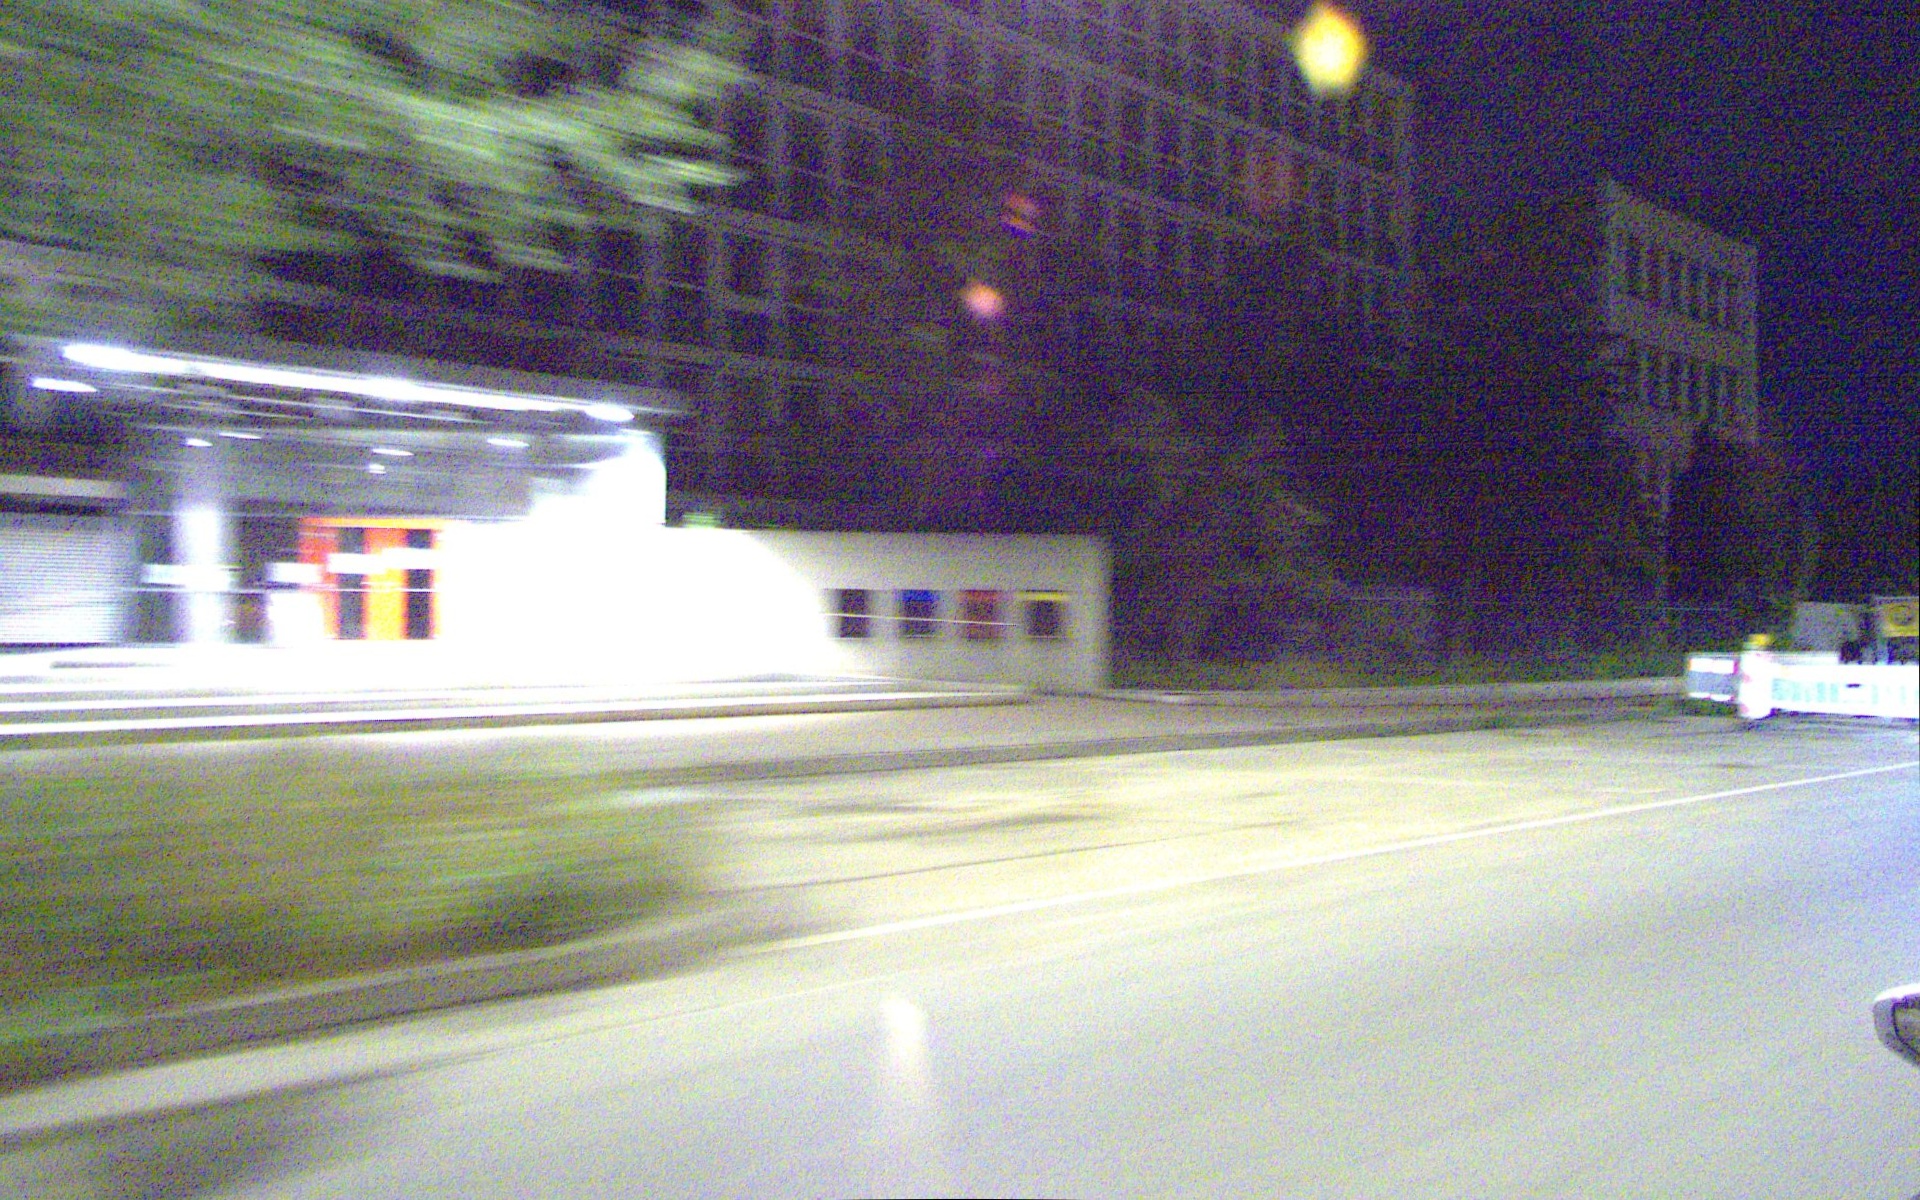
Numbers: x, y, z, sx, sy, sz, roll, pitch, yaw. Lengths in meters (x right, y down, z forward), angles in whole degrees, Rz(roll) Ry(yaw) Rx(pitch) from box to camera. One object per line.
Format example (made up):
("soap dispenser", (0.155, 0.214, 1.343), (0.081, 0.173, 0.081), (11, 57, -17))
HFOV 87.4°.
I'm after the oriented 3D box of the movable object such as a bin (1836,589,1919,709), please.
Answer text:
("movable object such as a bin", (20.618, 1.095, 22.332), (1.529, 2.499, 2.828), (-2, -3, 38))
